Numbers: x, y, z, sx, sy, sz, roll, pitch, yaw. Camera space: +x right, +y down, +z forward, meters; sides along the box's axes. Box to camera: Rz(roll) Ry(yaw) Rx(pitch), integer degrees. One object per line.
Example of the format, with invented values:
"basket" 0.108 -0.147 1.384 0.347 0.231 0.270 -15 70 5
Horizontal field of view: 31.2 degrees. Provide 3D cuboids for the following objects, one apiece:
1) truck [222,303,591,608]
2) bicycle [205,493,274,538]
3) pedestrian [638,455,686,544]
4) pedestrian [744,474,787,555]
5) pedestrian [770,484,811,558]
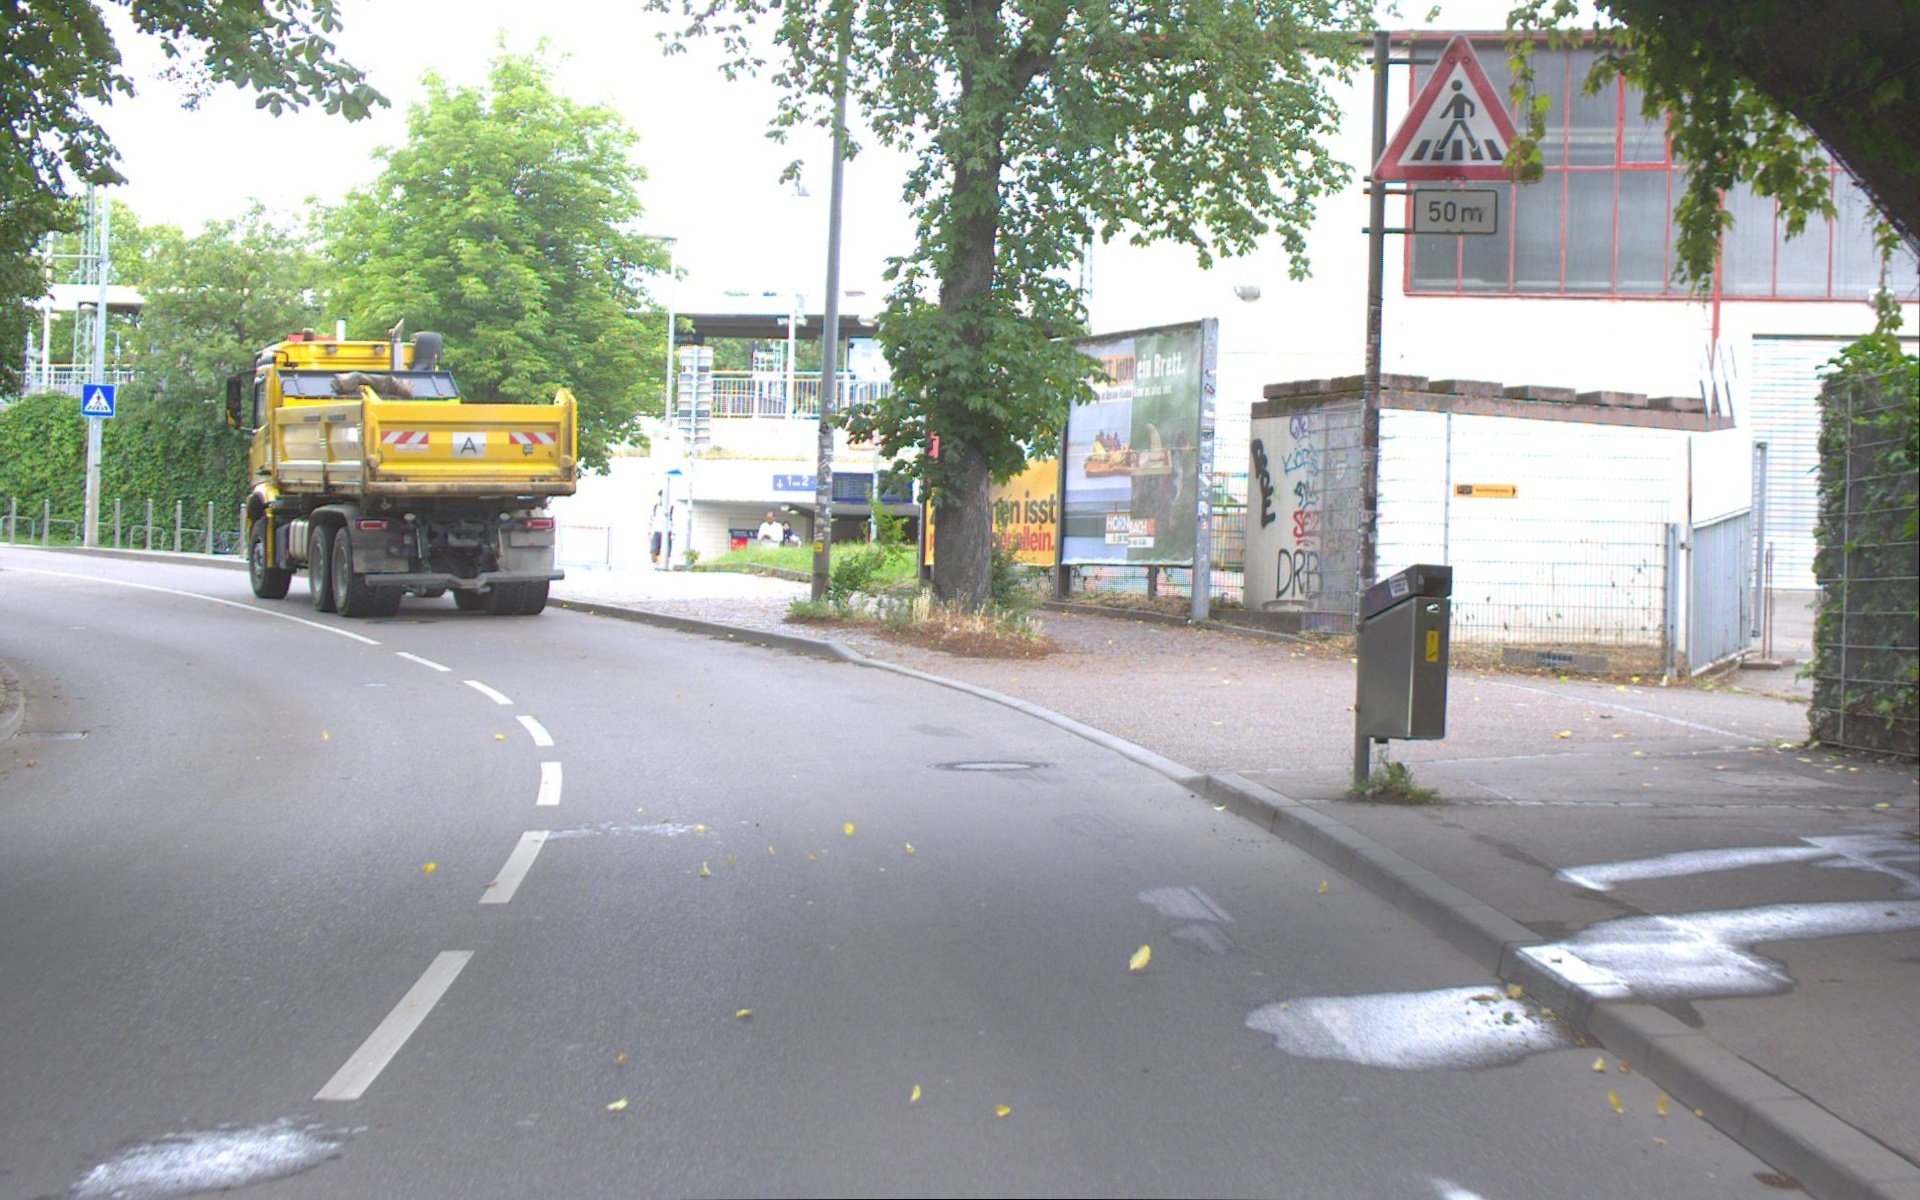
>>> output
"truck" -7.208 -1.929 43.645 2.764 3.471 8.133 1 4 -22
"bicycle" -17.567 -2.062 83.849 1.487 0.986 0.694 5 0 -22
"pedestrian" -5.741 -1.936 66.243 0.848 1.678 0.940 1 0 -3
"pedestrian" -4.197 -1.843 74.227 0.814 1.697 0.749 2 0 0
"pedestrian" -3.733 -1.744 75.785 0.799 1.578 0.802 2 0 0
